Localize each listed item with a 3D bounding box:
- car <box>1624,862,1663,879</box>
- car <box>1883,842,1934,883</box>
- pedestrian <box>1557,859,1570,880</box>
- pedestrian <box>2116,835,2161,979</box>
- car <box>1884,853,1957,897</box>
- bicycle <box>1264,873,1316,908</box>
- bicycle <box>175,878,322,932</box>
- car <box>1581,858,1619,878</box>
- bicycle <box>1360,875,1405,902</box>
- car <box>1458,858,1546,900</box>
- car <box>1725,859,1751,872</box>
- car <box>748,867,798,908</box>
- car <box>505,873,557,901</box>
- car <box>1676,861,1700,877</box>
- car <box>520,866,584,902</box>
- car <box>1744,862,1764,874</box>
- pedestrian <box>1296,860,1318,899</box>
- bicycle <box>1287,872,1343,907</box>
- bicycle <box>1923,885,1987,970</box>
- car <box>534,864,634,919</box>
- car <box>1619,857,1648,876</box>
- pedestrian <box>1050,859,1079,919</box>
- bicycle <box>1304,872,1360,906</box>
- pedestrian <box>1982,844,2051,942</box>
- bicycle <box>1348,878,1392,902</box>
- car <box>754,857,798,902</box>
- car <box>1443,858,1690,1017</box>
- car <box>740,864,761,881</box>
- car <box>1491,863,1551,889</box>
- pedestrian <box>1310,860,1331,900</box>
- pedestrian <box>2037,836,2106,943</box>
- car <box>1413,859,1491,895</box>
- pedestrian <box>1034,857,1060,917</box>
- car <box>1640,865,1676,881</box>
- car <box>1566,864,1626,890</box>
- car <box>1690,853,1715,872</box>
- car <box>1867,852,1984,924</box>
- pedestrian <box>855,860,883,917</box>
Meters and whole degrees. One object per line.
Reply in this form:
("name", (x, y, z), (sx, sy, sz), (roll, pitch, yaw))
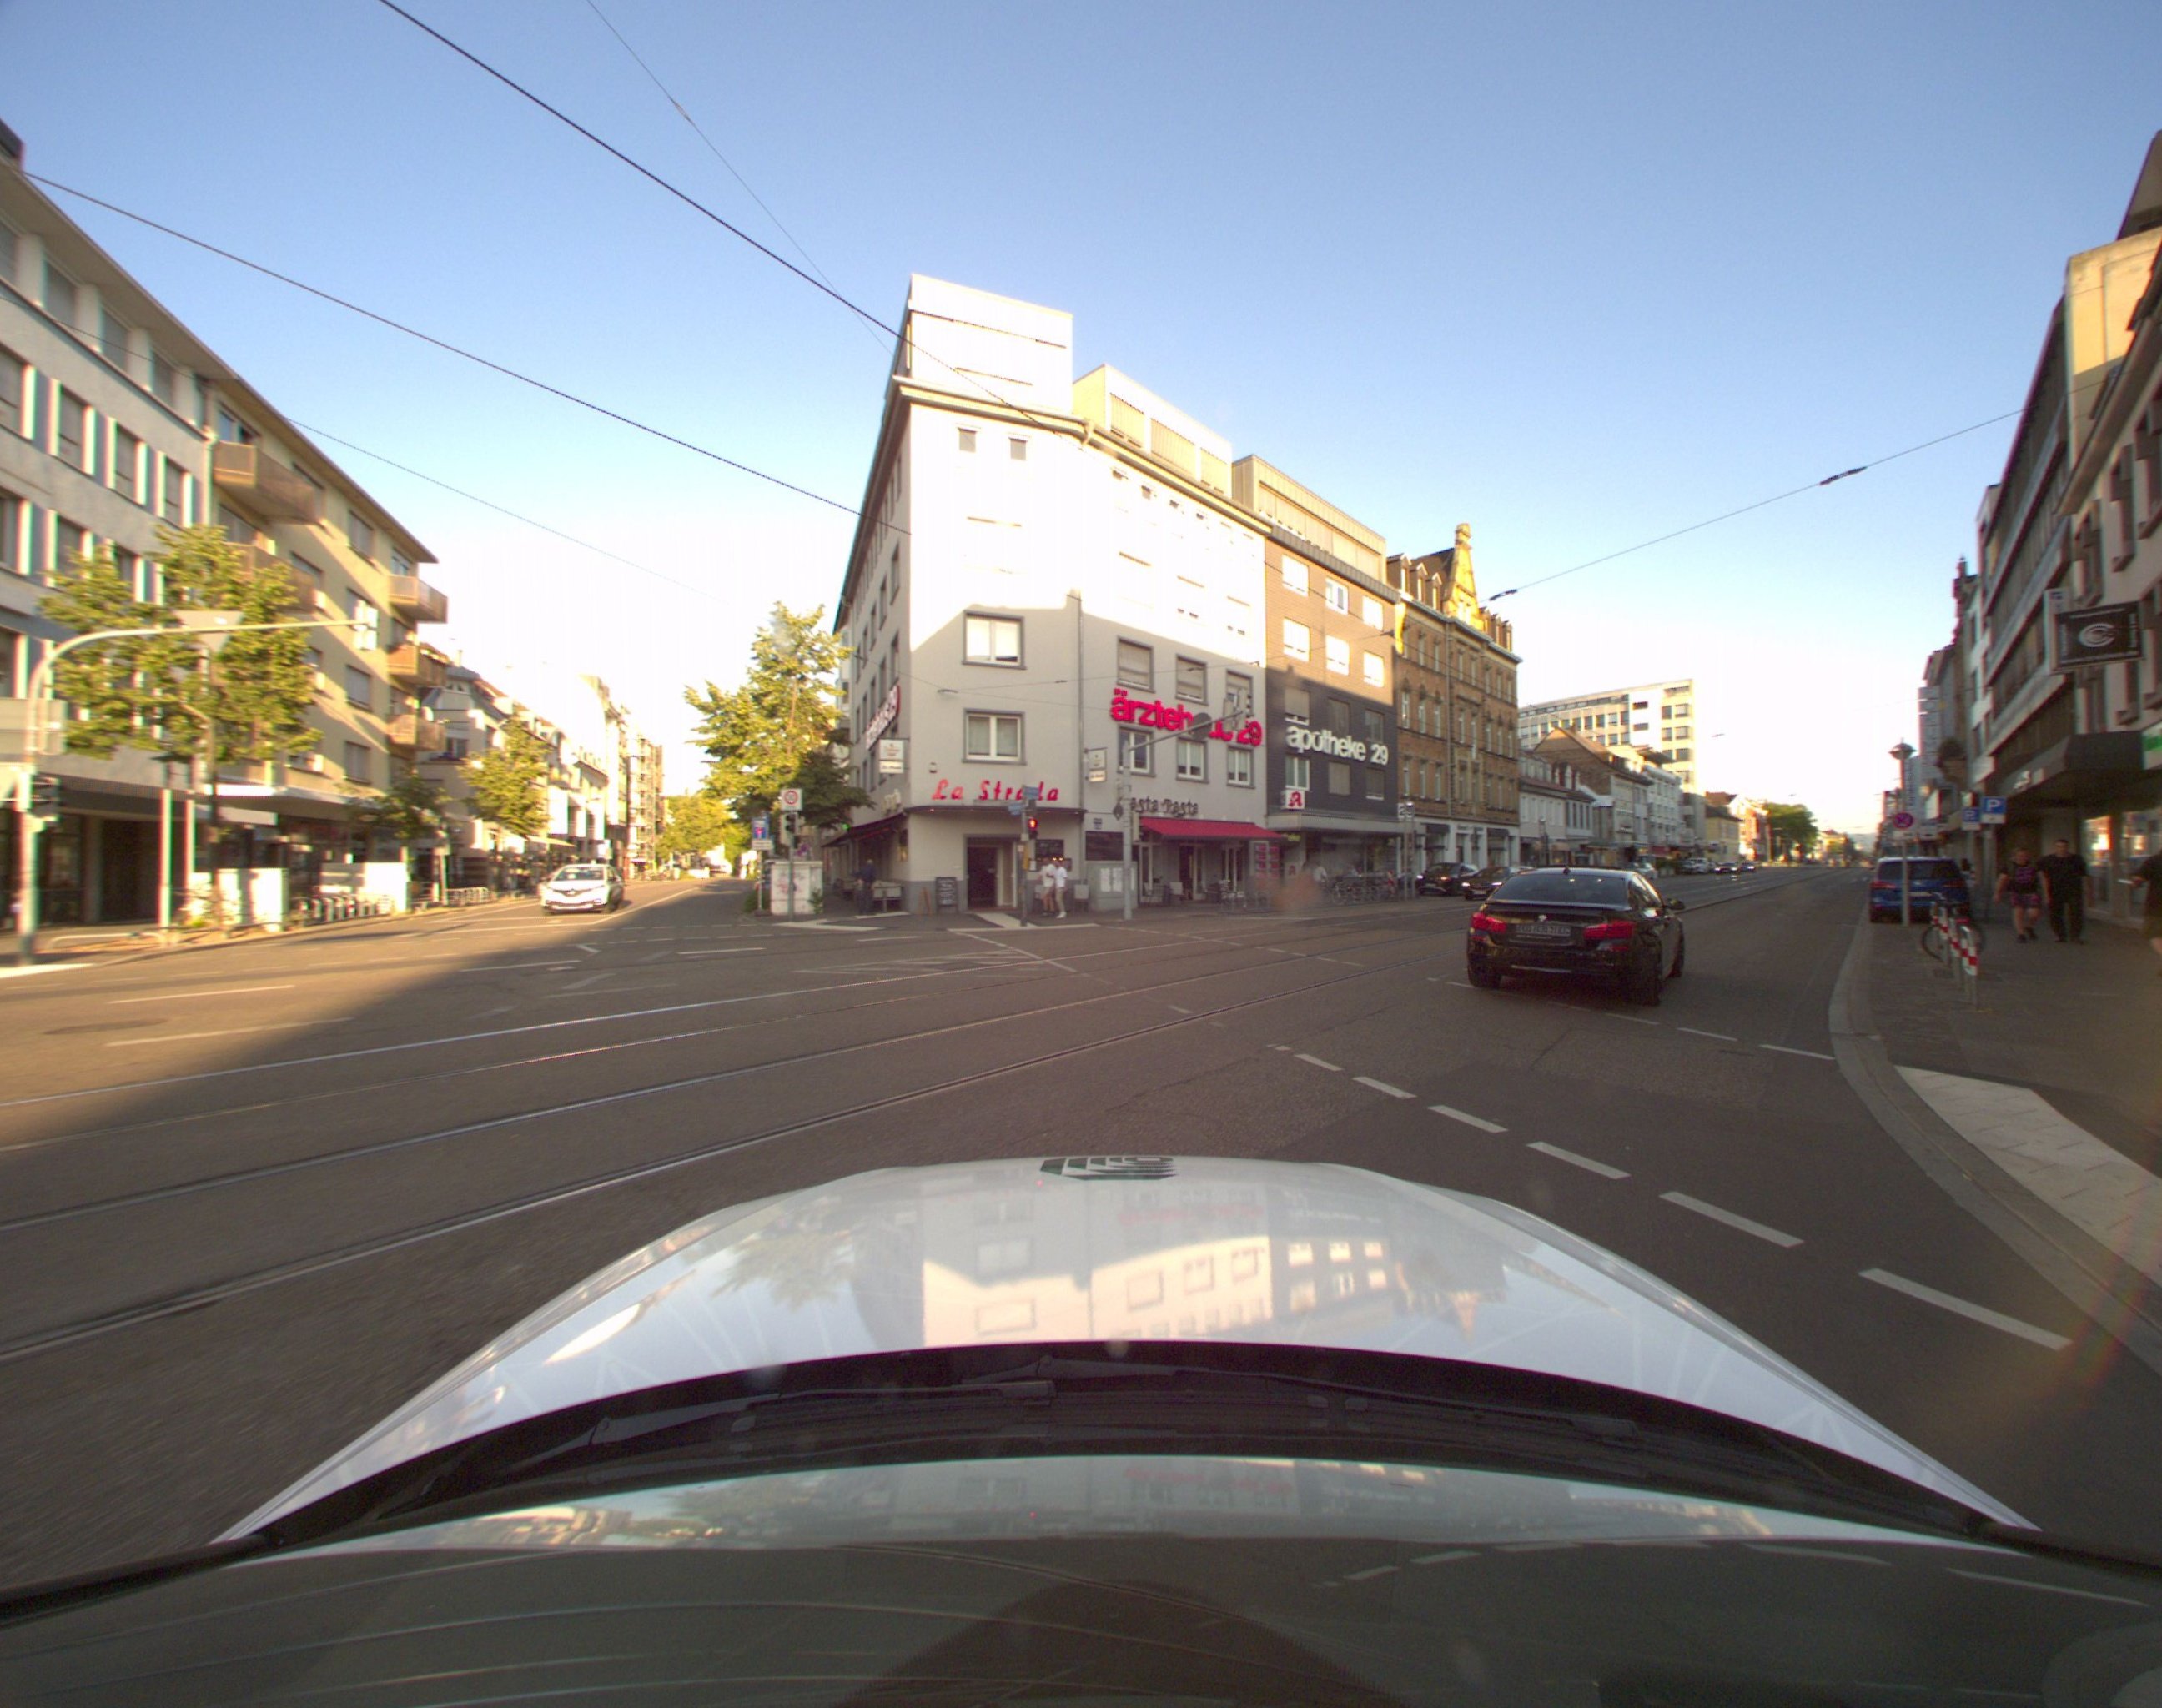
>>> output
("car", (50.356, 1.442, 72.867), (4.849, 1.453, 1.975), (1, -1, -44))
("car", (51.934, 0.553, 51.168), (2.073, 2.455, 6.067), (-3, -3, 45))
("pedestrian", (37.897, 1.217, 63.960), (0.698, 1.644, 0.656), (1, -1, -44))
("pedestrian", (14.017, 0.662, 10.441), (0.933, 1.806, 0.759), (1, -3, -43))
("car", (35.903, 0.901, 34.876), (4.591, 1.728, 1.975), (1, -3, -45))
("bicycle", (7.875, 1.363, 30.710), (0.556, 1.211, 1.874), (1, 1, -44))
("bicycle", (-20.273, 1.241, 19.904), (2.378, 1.253, 0.634), (2, -2, -26))
("car", (39.697, 1.094, 62.277), (3.834, 1.440, 1.584), (1, -3, -44))
("bicycle", (13.238, 1.494, 35.844), (0.492, 1.047, 1.815), (-1, 2, -44))
("car", (18.801, 1.079, 36.282), (4.754, 1.728, 1.975), (1, -3, -44))
("car", (74.082, 1.290, 91.828), (1.975, 1.453, 4.677), (-1, -1, 43))
("car", (-11.659, 1.241, 30.996), (1.645, 1.444, 3.584), (0, -1, -18))
("car", (-32.986, 1.944, 48.975), (1.842, 1.556, 3.751), (-1, -1, -23))
("car", (68.545, 1.689, 91.962), (1.848, 1.685, 4.024), (-1, -1, 41))
("car", (-25.084, 1.382, 38.744), (1.842, 1.556, 3.751), (-1, -1, -22))
("car", (85.716, 1.767, 103.776), (1.676, 1.453, 4.492), (-1, -1, 43))
("pedestrian", (9.941, 1.112, 35.828), (0.628, 1.661, 0.676), (0, -1, -45))
("bicycle", (9.087, 1.369, 31.679), (0.556, 1.224, 2.093), (1, 0, -44))
("bicycle", (12.982, 1.057, 12.121), (0.528, 1.147, 1.499), (-2, -2, 43))
("car", (-15.806, 1.160, 26.132), (2.117, 1.556, 3.982), (-1, -1, -23))
("car", (46.990, 1.092, 69.214), (2.810, 1.577, 1.463), (1, -2, -44))
("pedestrian", (-0.484, 1.022, 24.053), (0.669, 1.744, 0.633), (0, -1, -23))
("bicycle", (10.032, 1.373, 32.584), (0.556, 1.224, 2.093), (0, 1, -44))
("pedestrian", (18.024, 0.736, 15.712), (0.730, 1.829, 0.856), (-3, -3, 44))
("bicycle", (12.543, 1.539, 35.384), (0.458, 0.912, 1.789), (-1, 2, -44))
("car", (-13.829, 1.133, 37.057), (1.644, 1.874, 3.584), (3, -1, -18))
("car", (6.168, 0.841, 10.067), (1.935, 1.498, 4.492), (0, -1, 40))
("car", (-36.262, 2.024, 89.345), (1.857, 1.794, 3.975), (1, -1, -18))
("car", (26.758, 1.310, 49.416), (4.636, 1.453, 1.852), (1, -1, -44))
("pedestrian", (10.396, 1.107, 35.330), (0.606, 1.699, 0.615), (0, -1, -45))
("pedestrian", (18.634, 0.659, 15.342), (0.655, 1.928, 0.884), (-3, -3, 44))
("car", (18.664, 1.129, 40.903), (4.671, 1.674, 1.913), (0, 0, -43))
("pedestrian", (-1.022, 0.971, 24.598), (0.601, 1.779, 0.633), (0, -1, -22))
("car", (54.226, 1.788, 76.536), (4.354, 1.453, 1.975), (1, -1, -44))
("car", (30.940, 1.343, 48.870), (4.683, 1.453, 1.975), (1, -1, -45))
("car", (73.711, 1.042, 96.568), (1.975, 2.157, 4.940), (-1, -1, 42))
("car", (22.620, 0.866, 21.904), (4.602, 1.727, 1.975), (1, -2, -45))
("pedestrian", (-6.294, 1.009, 24.173), (0.714, 1.676, 0.698), (0, -1, -22))
